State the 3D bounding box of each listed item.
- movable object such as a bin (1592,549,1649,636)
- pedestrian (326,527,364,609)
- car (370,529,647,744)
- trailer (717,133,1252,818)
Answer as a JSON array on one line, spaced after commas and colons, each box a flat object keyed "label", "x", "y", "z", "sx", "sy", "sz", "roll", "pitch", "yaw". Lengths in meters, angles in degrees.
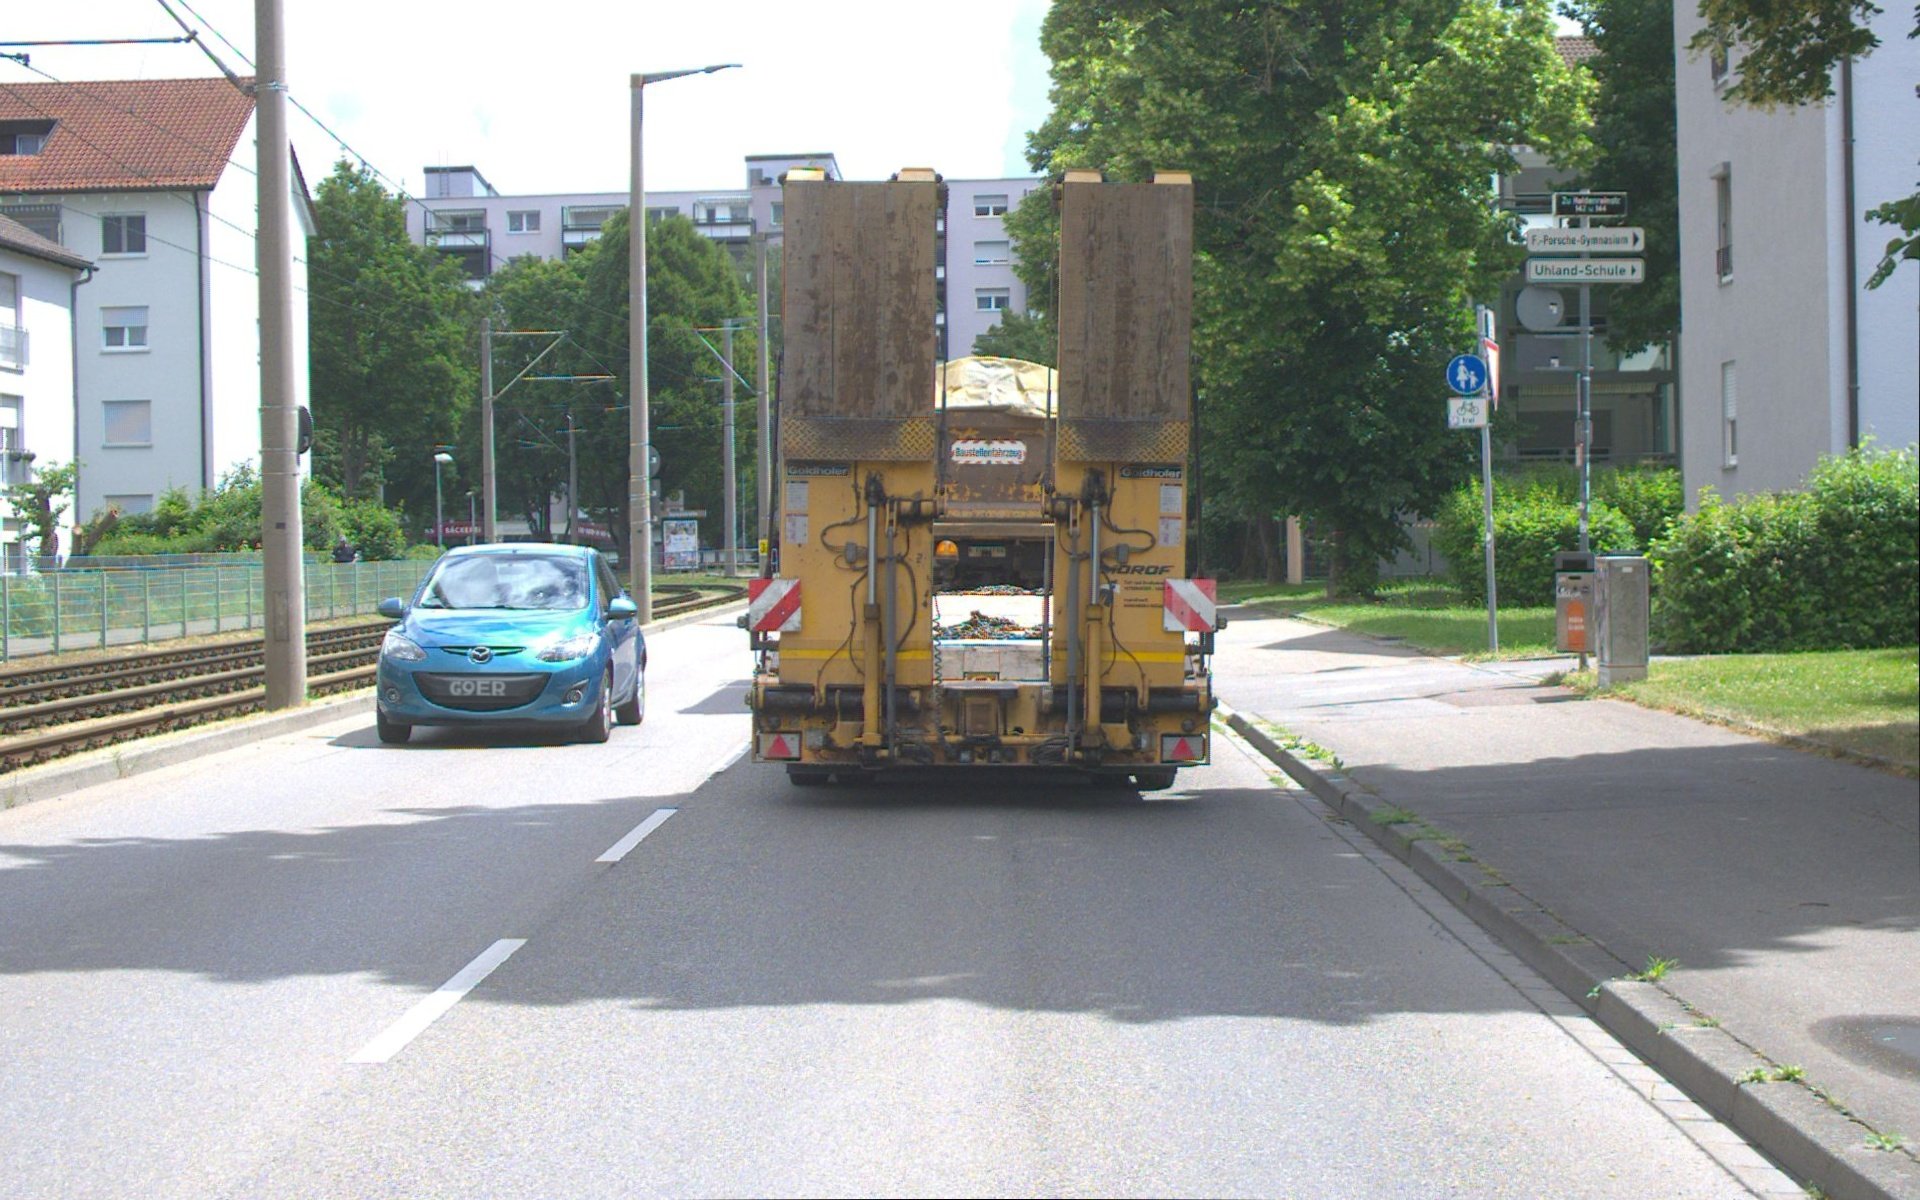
[{"label": "movable object such as a bin", "x": 7.346, "y": -0.086, "z": 38.251, "sx": 0.496, "sy": 0.951, "sz": 0.580, "roll": -2, "pitch": 1, "yaw": 1}, {"label": "pedestrian", "x": -14.084, "y": -0.739, "z": 78.721, "sx": 0.659, "sy": 1.842, "sz": 0.768, "roll": -2, "pitch": 0, "yaw": 1}, {"label": "car", "x": -3.381, "y": 0.237, "z": 26.271, "sx": 1.623, "sy": 1.520, "sz": 3.581, "roll": 0, "pitch": 1, "yaw": 0}, {"label": "trailer", "x": -0.065, "y": -0.738, "z": 24.554, "sx": 2.827, "sy": 3.633, "sz": 12.355, "roll": 1, "pitch": 1, "yaw": -2}]
